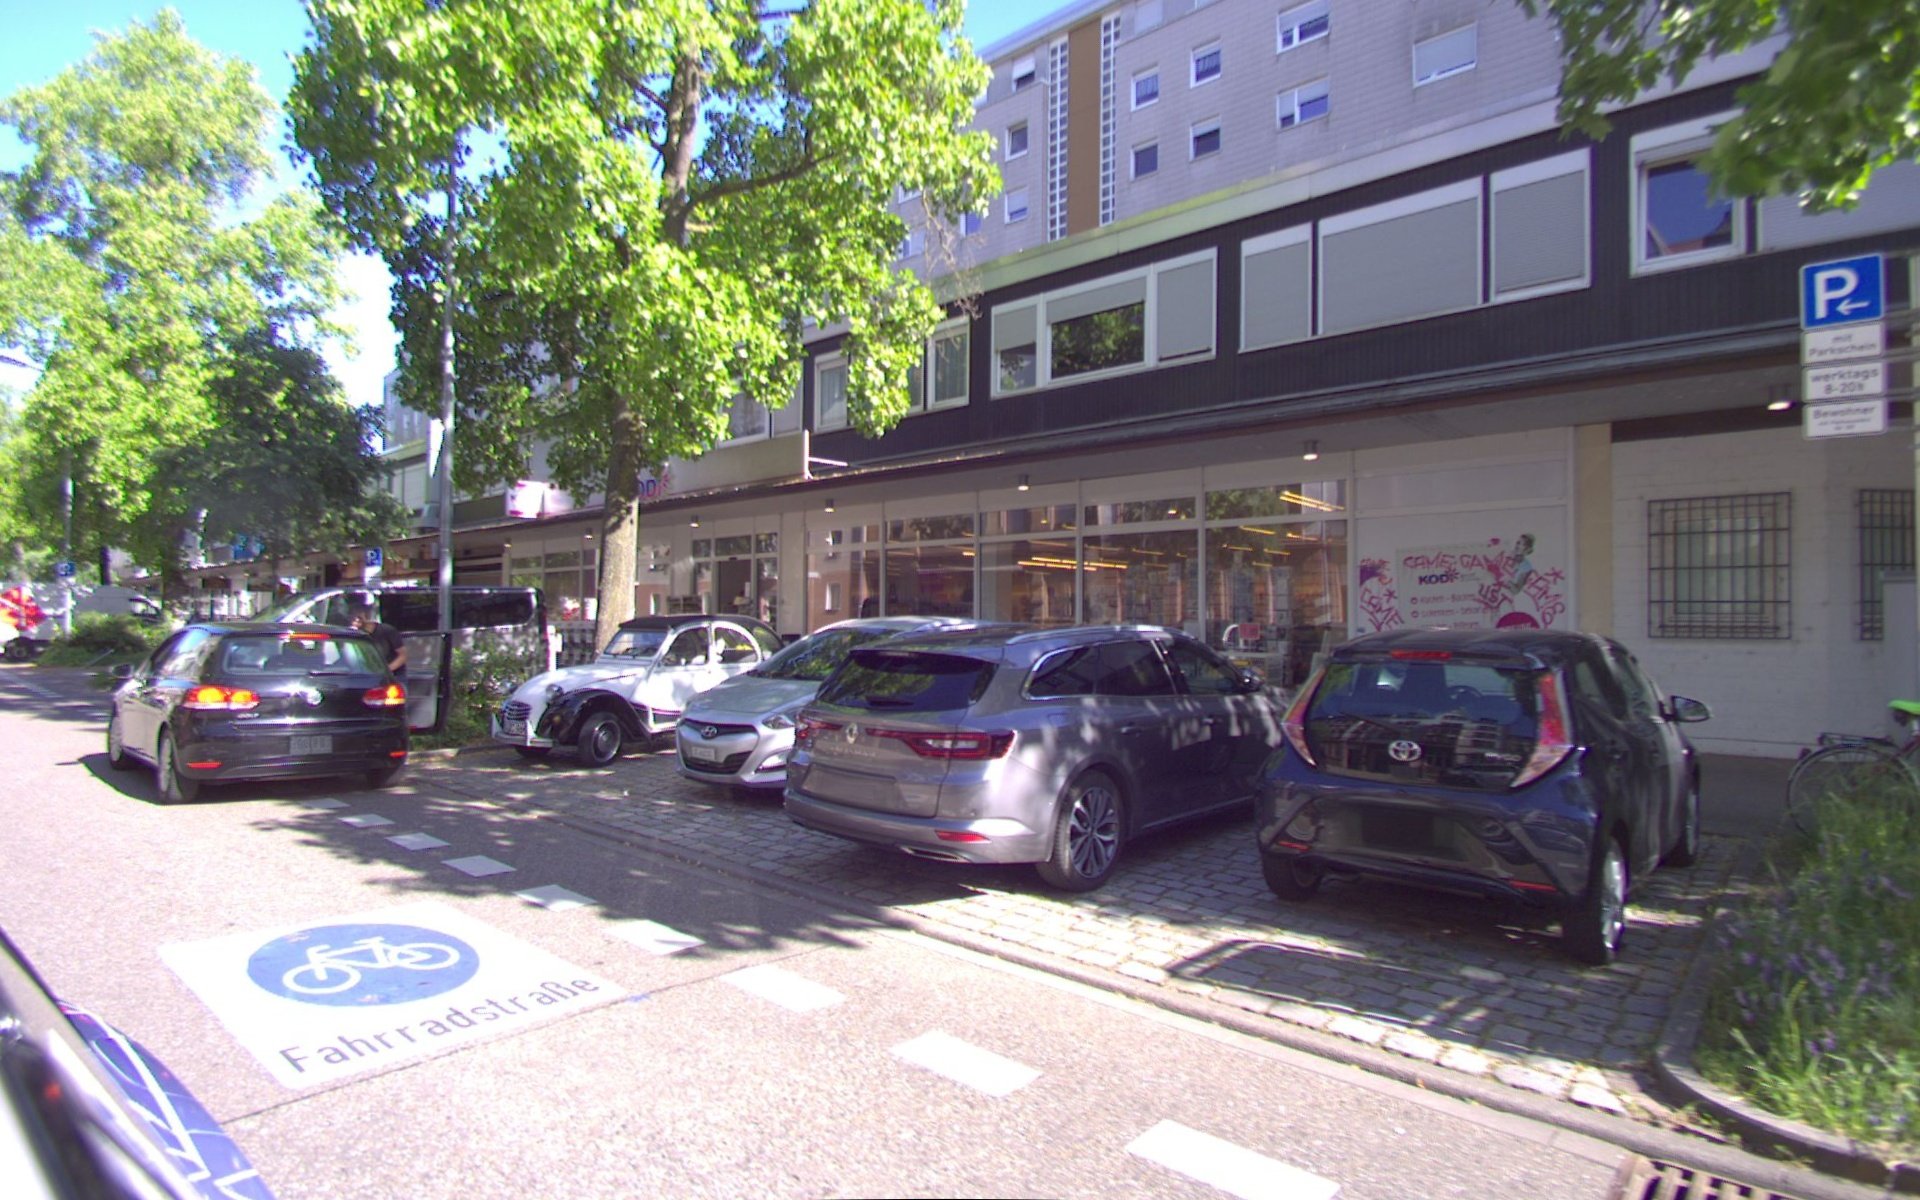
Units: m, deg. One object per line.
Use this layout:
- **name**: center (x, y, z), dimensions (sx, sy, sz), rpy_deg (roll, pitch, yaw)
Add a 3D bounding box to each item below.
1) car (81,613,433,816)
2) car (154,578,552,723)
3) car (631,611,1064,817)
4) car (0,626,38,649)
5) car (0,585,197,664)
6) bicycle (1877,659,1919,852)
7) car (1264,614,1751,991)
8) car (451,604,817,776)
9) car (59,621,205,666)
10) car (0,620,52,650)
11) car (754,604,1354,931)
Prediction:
- **car**: center (-6.535, 0.886, 9.244), dimensions (3.959, 1.449, 1.744), rpy_deg (-1, -3, 42)
- **car**: center (-9.674, 0.737, 16.559), dimensions (2.015, 1.989, 5.236), rpy_deg (-1, -1, 41)
- **car**: center (-0.827, 0.848, 9.400), dimensions (1.809, 1.474, 3.950), rpy_deg (-1, -1, 37)
- **car**: center (-59.680, 2.310, 62.442), dimensions (1.758, 1.409, 3.946), rpy_deg (-2, -2, 40)
- **car**: center (-30.097, 0.835, 34.470), dimensions (1.985, 2.493, 6.558), rpy_deg (-1, -1, 20)
- **bicycle**: center (6.056, 0.894, 5.645), dimensions (1.342, 1.086, 0.461), rpy_deg (-1, -2, 39)
- **car**: center (3.549, 0.826, 6.104), dimensions (1.644, 1.444, 4.259), rpy_deg (-1, -1, 42)
- **car**: center (-3.430, 0.846, 11.187), dimensions (1.681, 1.564, 3.566), rpy_deg (-1, -1, 36)
- **car**: center (-27.689, 1.414, 33.912), dimensions (1.831, 1.431, 3.556), rpy_deg (-1, -2, 41)
- **car**: center (-66.207, 2.431, 69.934), dimensions (1.908, 1.984, 4.932), rpy_deg (-2, -1, 40)
- **car**: center (0.907, 0.794, 6.828), dimensions (1.763, 1.471, 4.257), rpy_deg (-1, -1, 44)
